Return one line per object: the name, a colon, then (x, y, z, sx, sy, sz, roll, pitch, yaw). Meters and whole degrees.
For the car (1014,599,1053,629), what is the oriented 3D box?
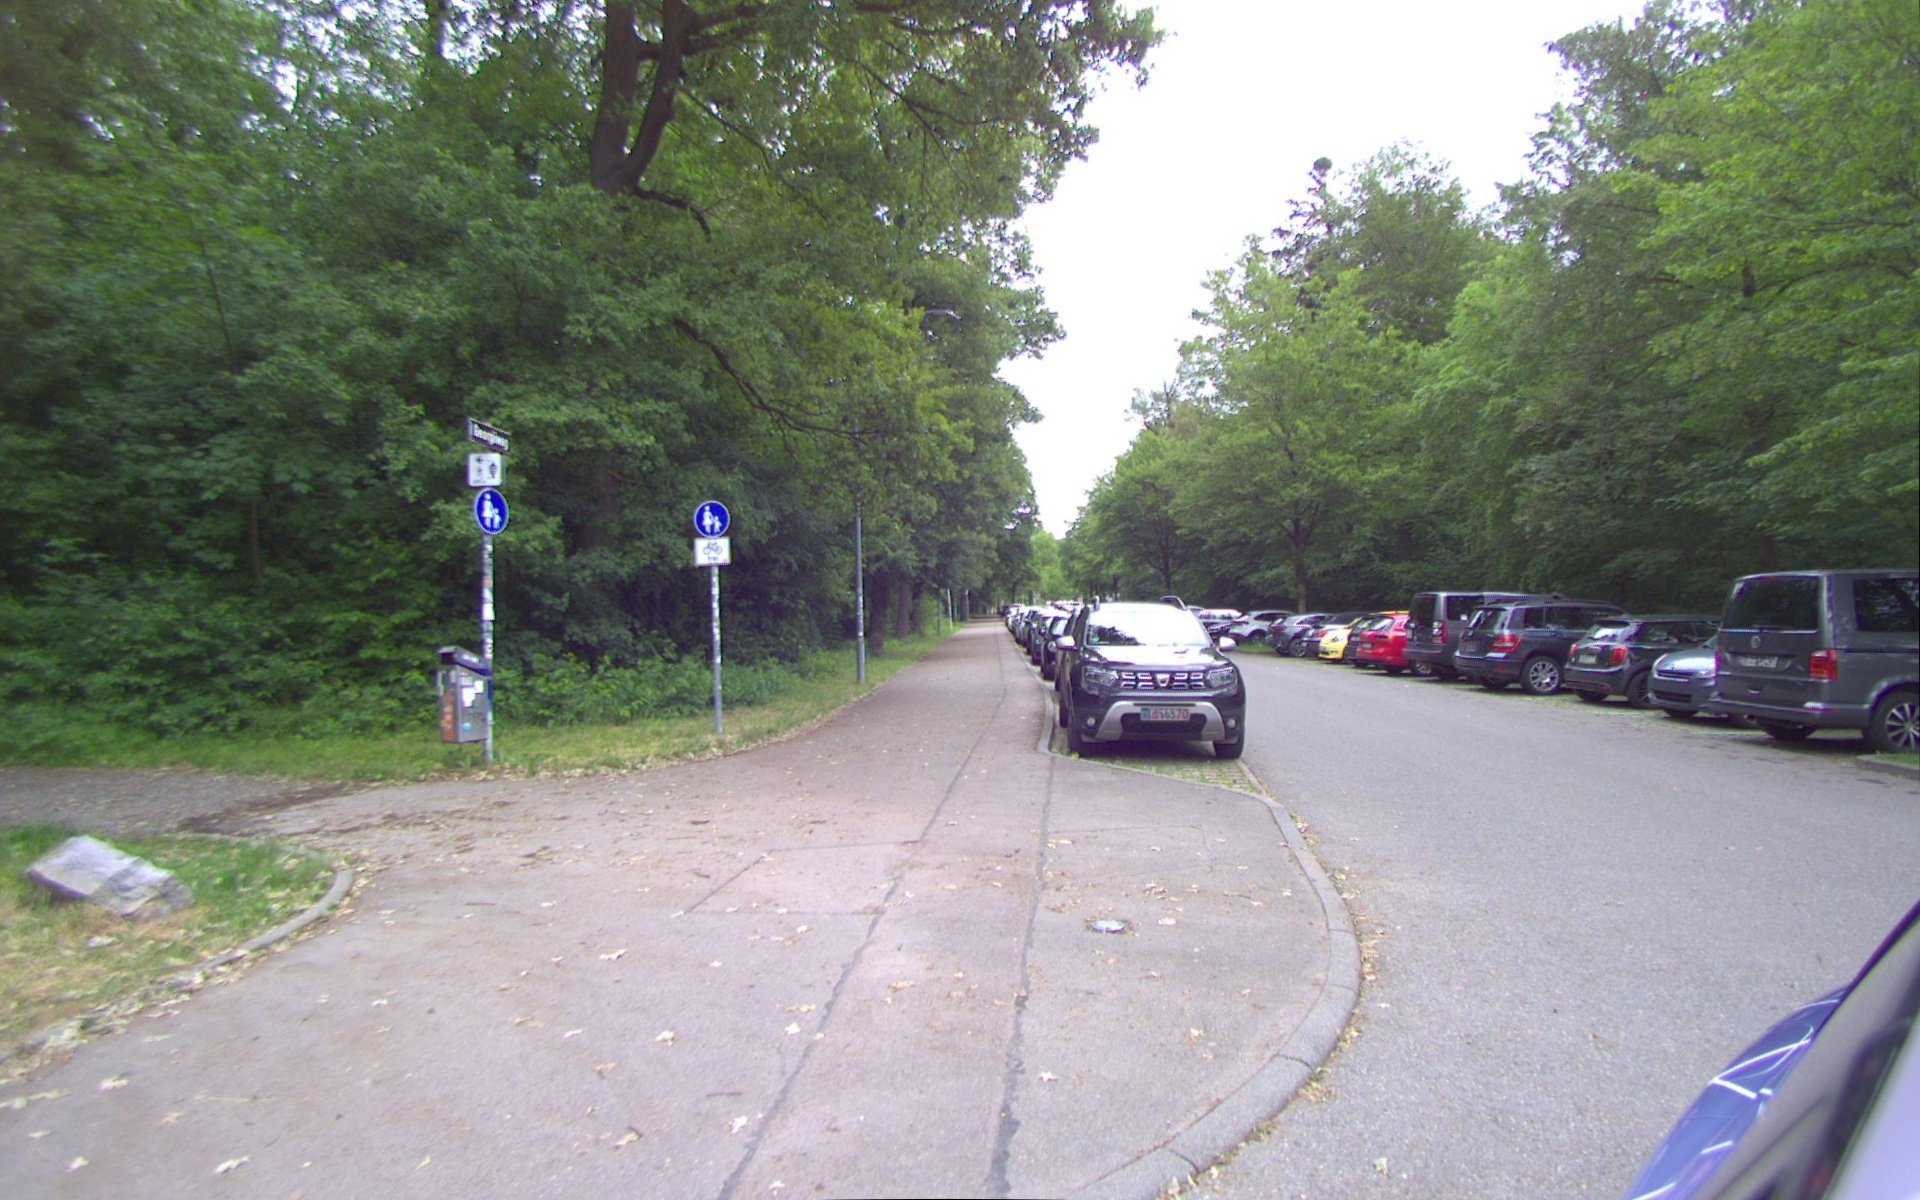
car: (3.762, 0.720, 52.269, 1.709, 1.493, 4.603, -1, -1, 1)

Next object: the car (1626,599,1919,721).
car: (11.561, 0.774, 13.731, 3.760, 1.532, 1.806, 0, -1, 6)

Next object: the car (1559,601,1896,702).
car: (12.099, 0.799, 16.177, 3.928, 1.448, 1.718, -1, -1, 4)

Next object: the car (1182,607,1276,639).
car: (12.403, 1.073, 46.821, 3.929, 1.454, 1.675, 0, -1, 5)

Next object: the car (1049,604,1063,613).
car: (16.469, 1.415, 173.604, 1.750, 1.332, 3.869, -1, 1, 17)

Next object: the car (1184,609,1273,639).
car: (12.978, 1.160, 49.126, 3.929, 1.454, 1.646, 0, -1, 5)

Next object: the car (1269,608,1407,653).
car: (12.574, 1.000, 33.842, 3.927, 1.457, 1.713, 0, -1, 3)

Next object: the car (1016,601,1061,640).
car: (3.353, 0.850, 43.811, 1.709, 1.588, 4.006, -1, -1, 1)

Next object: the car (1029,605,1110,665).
car: (2.832, 0.879, 26.970, 1.709, 1.450, 4.499, -1, -1, 1)

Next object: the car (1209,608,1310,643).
car: (12.886, 1.098, 43.710, 3.929, 1.454, 1.675, 0, -1, 5)

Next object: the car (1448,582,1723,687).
car: (11.589, 0.635, 18.984, 3.926, 1.788, 1.823, -1, -1, 2)

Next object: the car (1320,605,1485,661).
car: (12.509, 0.918, 28.791, 3.927, 1.457, 1.616, -1, -1, 3)

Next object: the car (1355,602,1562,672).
car: (11.626, 0.848, 23.820, 3.925, 1.495, 1.779, -1, -1, 1)

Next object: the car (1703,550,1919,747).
car: (11.132, 0.506, 11.076, 4.438, 2.003, 1.887, 0, -1, 6)

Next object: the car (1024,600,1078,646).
car: (3.360, 0.829, 38.051, 1.709, 1.609, 4.380, -1, -1, 1)

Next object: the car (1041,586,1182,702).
car: (2.344, 0.650, 16.706, 1.709, 1.654, 4.373, -1, -1, 1)

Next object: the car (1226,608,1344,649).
car: (12.401, 1.084, 38.785, 3.927, 1.486, 1.713, -1, -1, 3)

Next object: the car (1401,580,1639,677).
car: (11.721, 0.595, 21.416, 3.927, 1.886, 1.811, -1, -1, 3)

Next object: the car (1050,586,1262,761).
car: (2.041, 0.719, 11.652, 1.782, 1.654, 3.995, -1, -1, 2)

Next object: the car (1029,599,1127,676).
car: (2.499, 0.772, 22.271, 1.709, 1.514, 4.231, -1, -1, 1)

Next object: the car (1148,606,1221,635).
car: (13.076, 1.184, 59.128, 3.928, 1.683, 1.812, 0, -1, 4)

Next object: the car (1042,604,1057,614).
car: (14.567, 1.448, 164.647, 1.750, 1.333, 3.866, -1, -4, 17)

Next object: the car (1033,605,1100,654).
car: (3.344, 0.890, 32.473, 1.709, 1.450, 4.499, -1, -1, 1)

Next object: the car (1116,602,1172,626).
car: (13.892, 1.052, 76.491, 3.927, 1.838, 1.816, 0, -1, 3)

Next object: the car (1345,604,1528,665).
car: (12.360, 0.872, 26.411, 3.925, 1.457, 1.671, -1, -1, 1)

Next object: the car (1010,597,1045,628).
car: (3.829, 0.706, 57.825, 1.709, 1.664, 5.069, -1, -1, 1)

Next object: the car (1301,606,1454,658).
car: (12.743, 0.968, 31.099, 3.927, 1.457, 1.732, -1, -1, 3)

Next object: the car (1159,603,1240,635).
car: (12.824, 1.005, 54.319, 3.926, 1.683, 1.813, 0, -1, 2)
